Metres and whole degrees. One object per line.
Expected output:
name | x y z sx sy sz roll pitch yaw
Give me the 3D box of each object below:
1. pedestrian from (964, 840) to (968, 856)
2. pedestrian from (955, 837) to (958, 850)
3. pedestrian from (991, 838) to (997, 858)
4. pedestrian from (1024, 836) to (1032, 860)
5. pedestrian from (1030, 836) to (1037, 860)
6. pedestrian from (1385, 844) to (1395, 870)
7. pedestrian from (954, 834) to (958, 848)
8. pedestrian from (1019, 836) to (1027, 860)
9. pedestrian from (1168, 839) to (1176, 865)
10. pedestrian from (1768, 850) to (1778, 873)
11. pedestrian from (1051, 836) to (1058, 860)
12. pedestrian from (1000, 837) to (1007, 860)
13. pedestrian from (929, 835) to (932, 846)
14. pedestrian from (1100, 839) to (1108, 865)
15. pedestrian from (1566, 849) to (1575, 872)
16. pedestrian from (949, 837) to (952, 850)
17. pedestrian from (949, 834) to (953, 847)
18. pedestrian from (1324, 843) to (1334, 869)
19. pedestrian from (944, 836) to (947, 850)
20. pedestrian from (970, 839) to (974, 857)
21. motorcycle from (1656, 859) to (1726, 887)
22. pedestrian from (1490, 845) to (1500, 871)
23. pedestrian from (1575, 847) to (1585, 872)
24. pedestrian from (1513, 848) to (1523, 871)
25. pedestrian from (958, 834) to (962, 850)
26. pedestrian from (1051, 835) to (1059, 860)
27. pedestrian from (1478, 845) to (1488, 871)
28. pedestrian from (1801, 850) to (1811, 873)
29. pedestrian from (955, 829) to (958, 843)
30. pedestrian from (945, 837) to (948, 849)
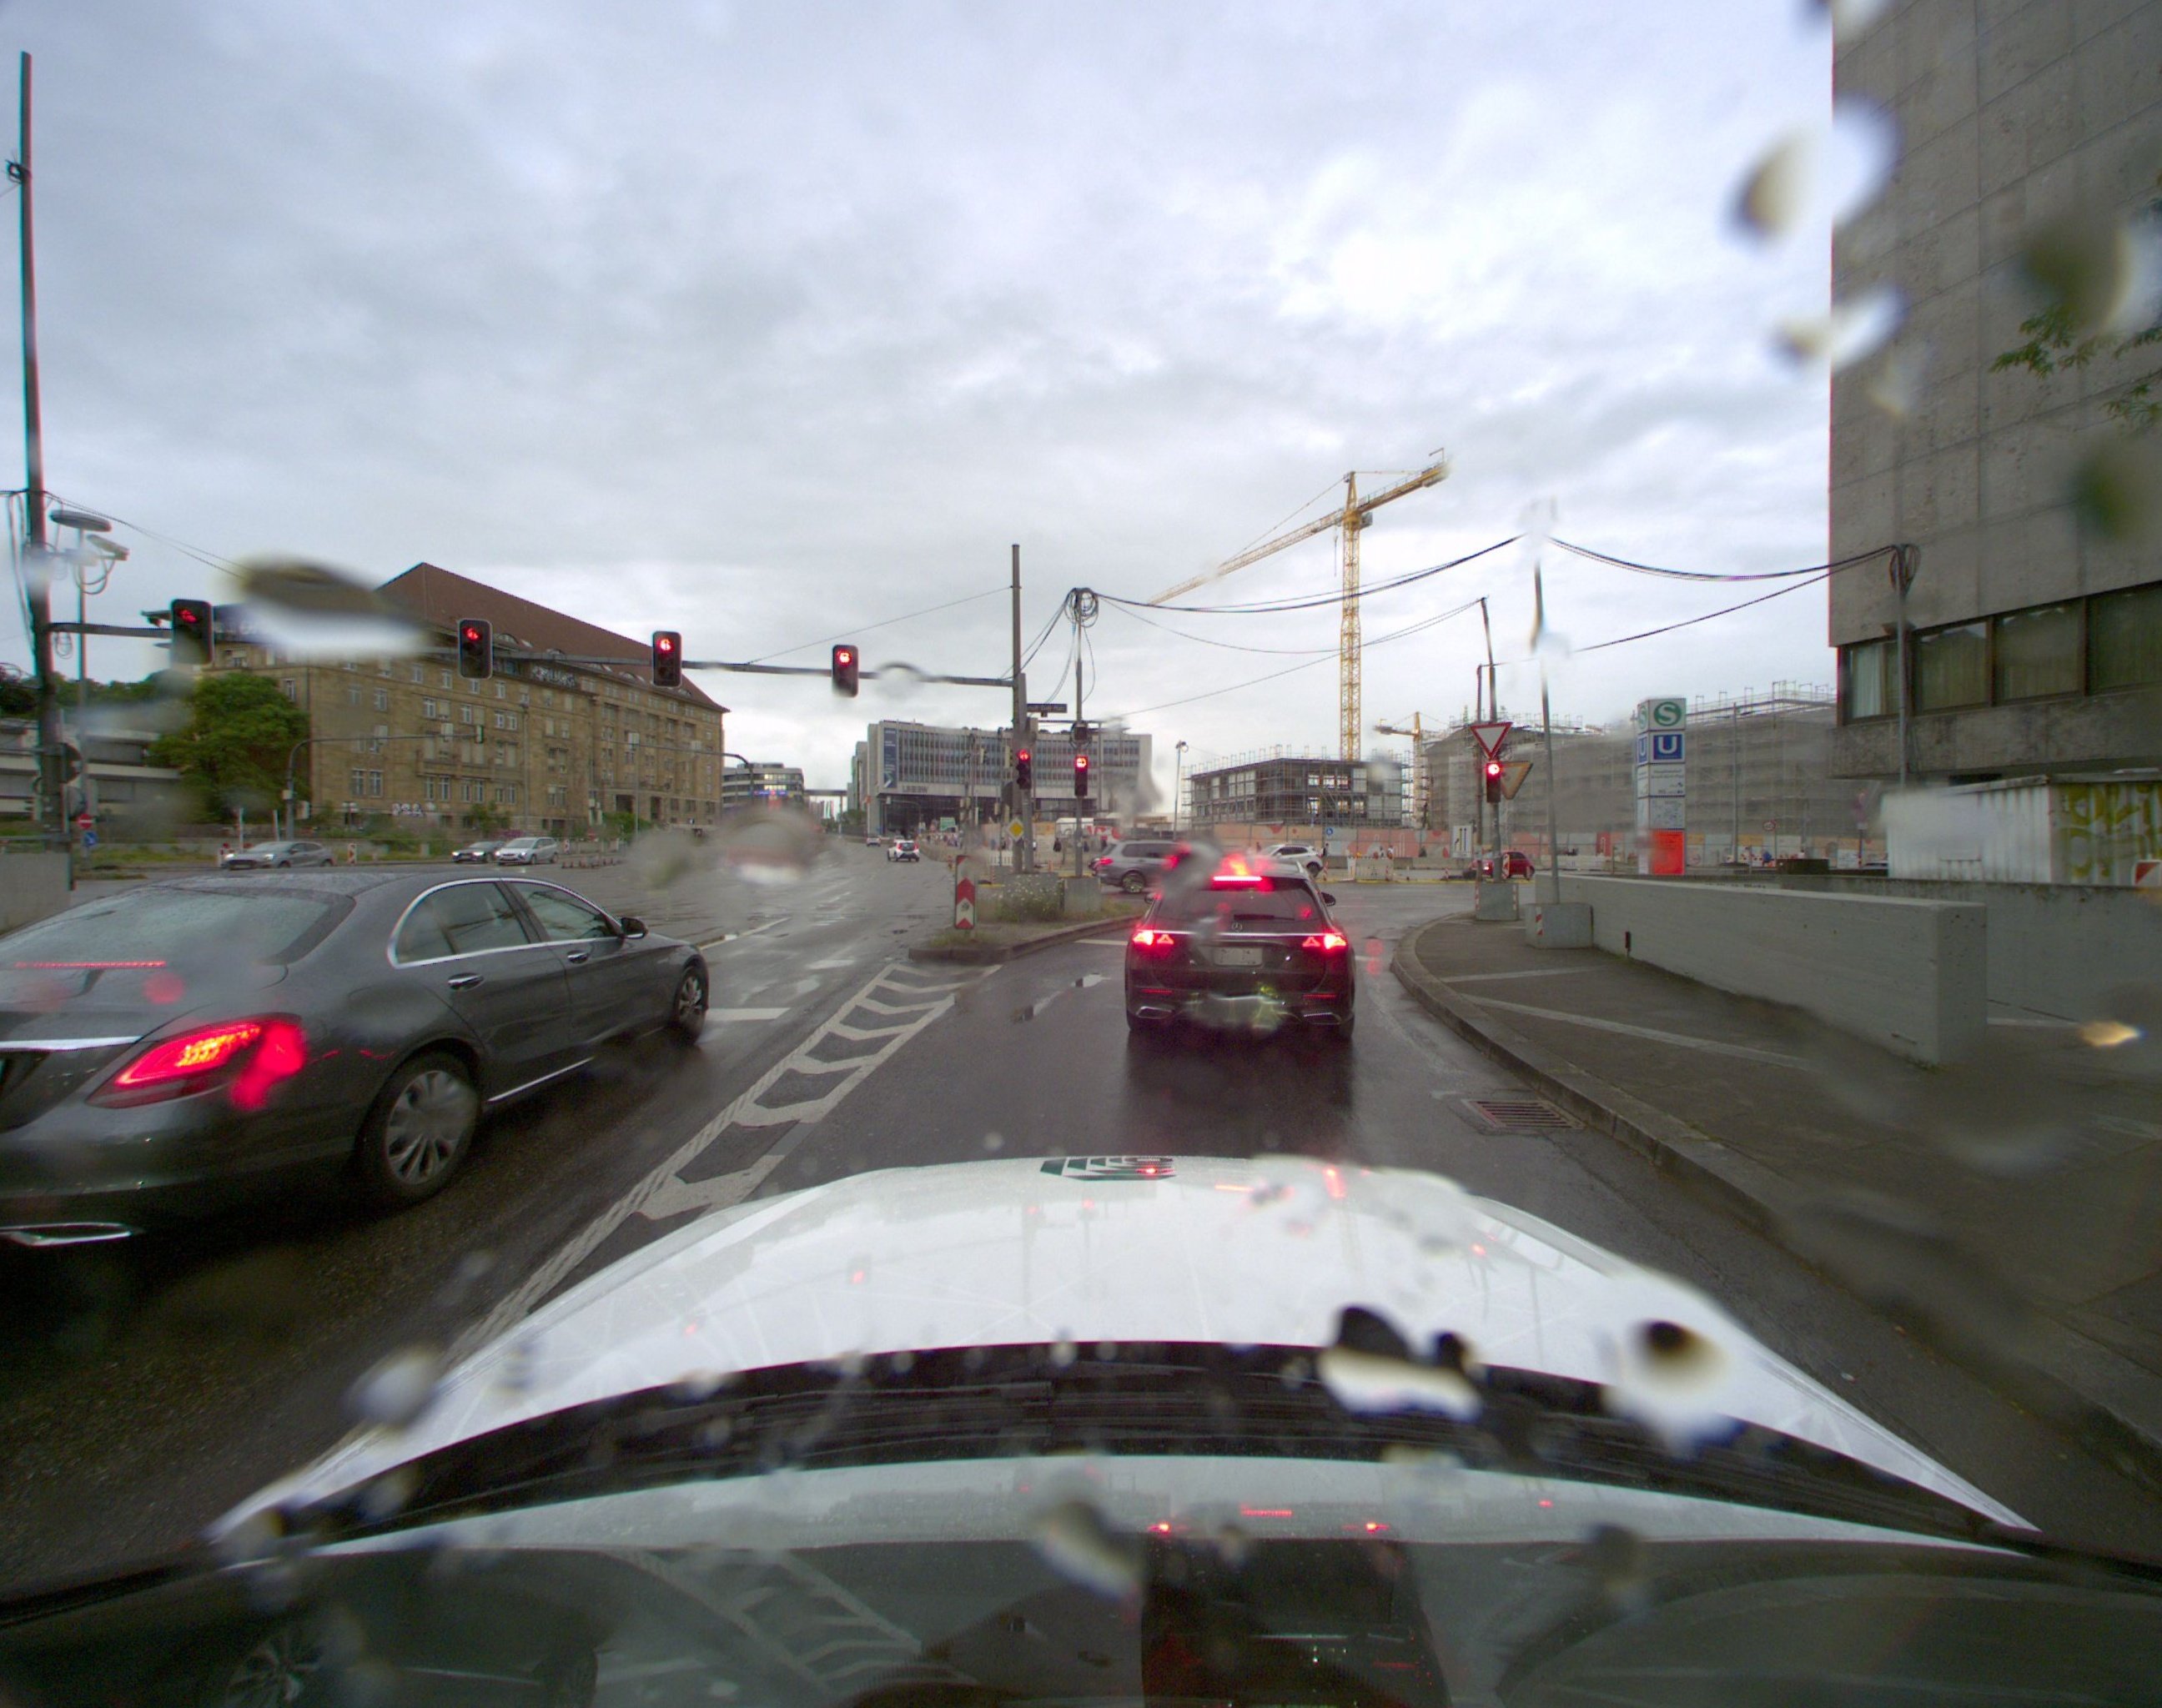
pedestrian | -13.416 -0.699 94.743 0.362 1.898 0.573 1 -1 -16
pedestrian | -19.113 -1.571 124.895 0.362 1.898 0.573 1 -1 -16
pedestrian | -8.190 -0.534 76.665 0.362 1.898 0.572 1 -1 -20
pedestrian | -4.230 -0.488 65.147 0.363 1.898 0.571 1 -1 -31
pedestrian | -3.816 -0.483 65.337 0.363 1.898 0.570 2 -1 -32
pedestrian | 23.190 0.233 61.173 0.574 1.898 0.361 1 -1 -10
pedestrian | -17.547 -1.846 114.364 0.362 1.898 0.573 1 -1 -16
pedestrian | -4.635 -0.499 64.970 0.363 1.898 0.571 1 -1 -29
pedestrian | 6.661 -0.113 59.593 0.572 1.898 0.362 1 -1 4
pedestrian | 58.561 0.632 68.951 0.574 1.898 0.361 1 -1 -10
pedestrian | -2.057 -0.484 63.700 0.362 1.898 0.572 1 -1 -20
pedestrian | -6.480 -0.460 68.322 0.363 1.898 0.572 1 -1 -24
pedestrian | -26.391 -2.436 142.911 0.362 1.898 0.573 1 -1 -16
pedestrian | 1.677 -0.143 58.924 0.572 1.898 0.362 1 -1 3
pedestrian | 39.963 0.538 66.512 0.575 1.898 0.360 1 -1 -14
pedestrian | -18.602 -1.454 115.752 0.361 1.898 0.574 1 -1 -12
pedestrian | -19.002 -2.012 119.097 0.362 1.898 0.573 1 -1 -16
pedestrian | 18.157 0.133 59.560 0.574 1.898 0.361 1 -1 -10
pedestrian | -18.830 -1.494 113.272 0.362 1.898 0.573 1 -1 -16
pedestrian | -11.636 -0.596 87.004 0.362 1.898 0.573 1 -1 -16
motorcycle | 24.527 0.756 32.775 2.125 1.108 0.852 1 -1 5
pedestrian | 30.719 0.314 60.459 0.574 1.898 0.361 1 -1 -10
pedestrian | 38.182 0.441 62.311 0.574 1.898 0.361 1 -1 -10
pedestrian | 34.980 0.443 65.168 0.574 1.898 0.361 1 -1 -10
pedestrian | -14.919 -1.485 100.671 0.362 1.898 0.573 1 -1 -16
pedestrian | -2.050 -0.485 63.641 0.363 1.898 0.571 1 -1 -28
pedestrian | 29.974 0.309 60.774 0.574 1.898 0.361 1 -1 -10
pedestrian | 61.033 0.646 68.538 0.574 1.898 0.361 1 -1 -10
pedestrian | -17.802 -2.532 116.157 0.362 1.898 0.573 1 -1 -16
pedestrian | -21.574 -1.685 130.356 0.362 1.898 0.573 1 -1 -16
